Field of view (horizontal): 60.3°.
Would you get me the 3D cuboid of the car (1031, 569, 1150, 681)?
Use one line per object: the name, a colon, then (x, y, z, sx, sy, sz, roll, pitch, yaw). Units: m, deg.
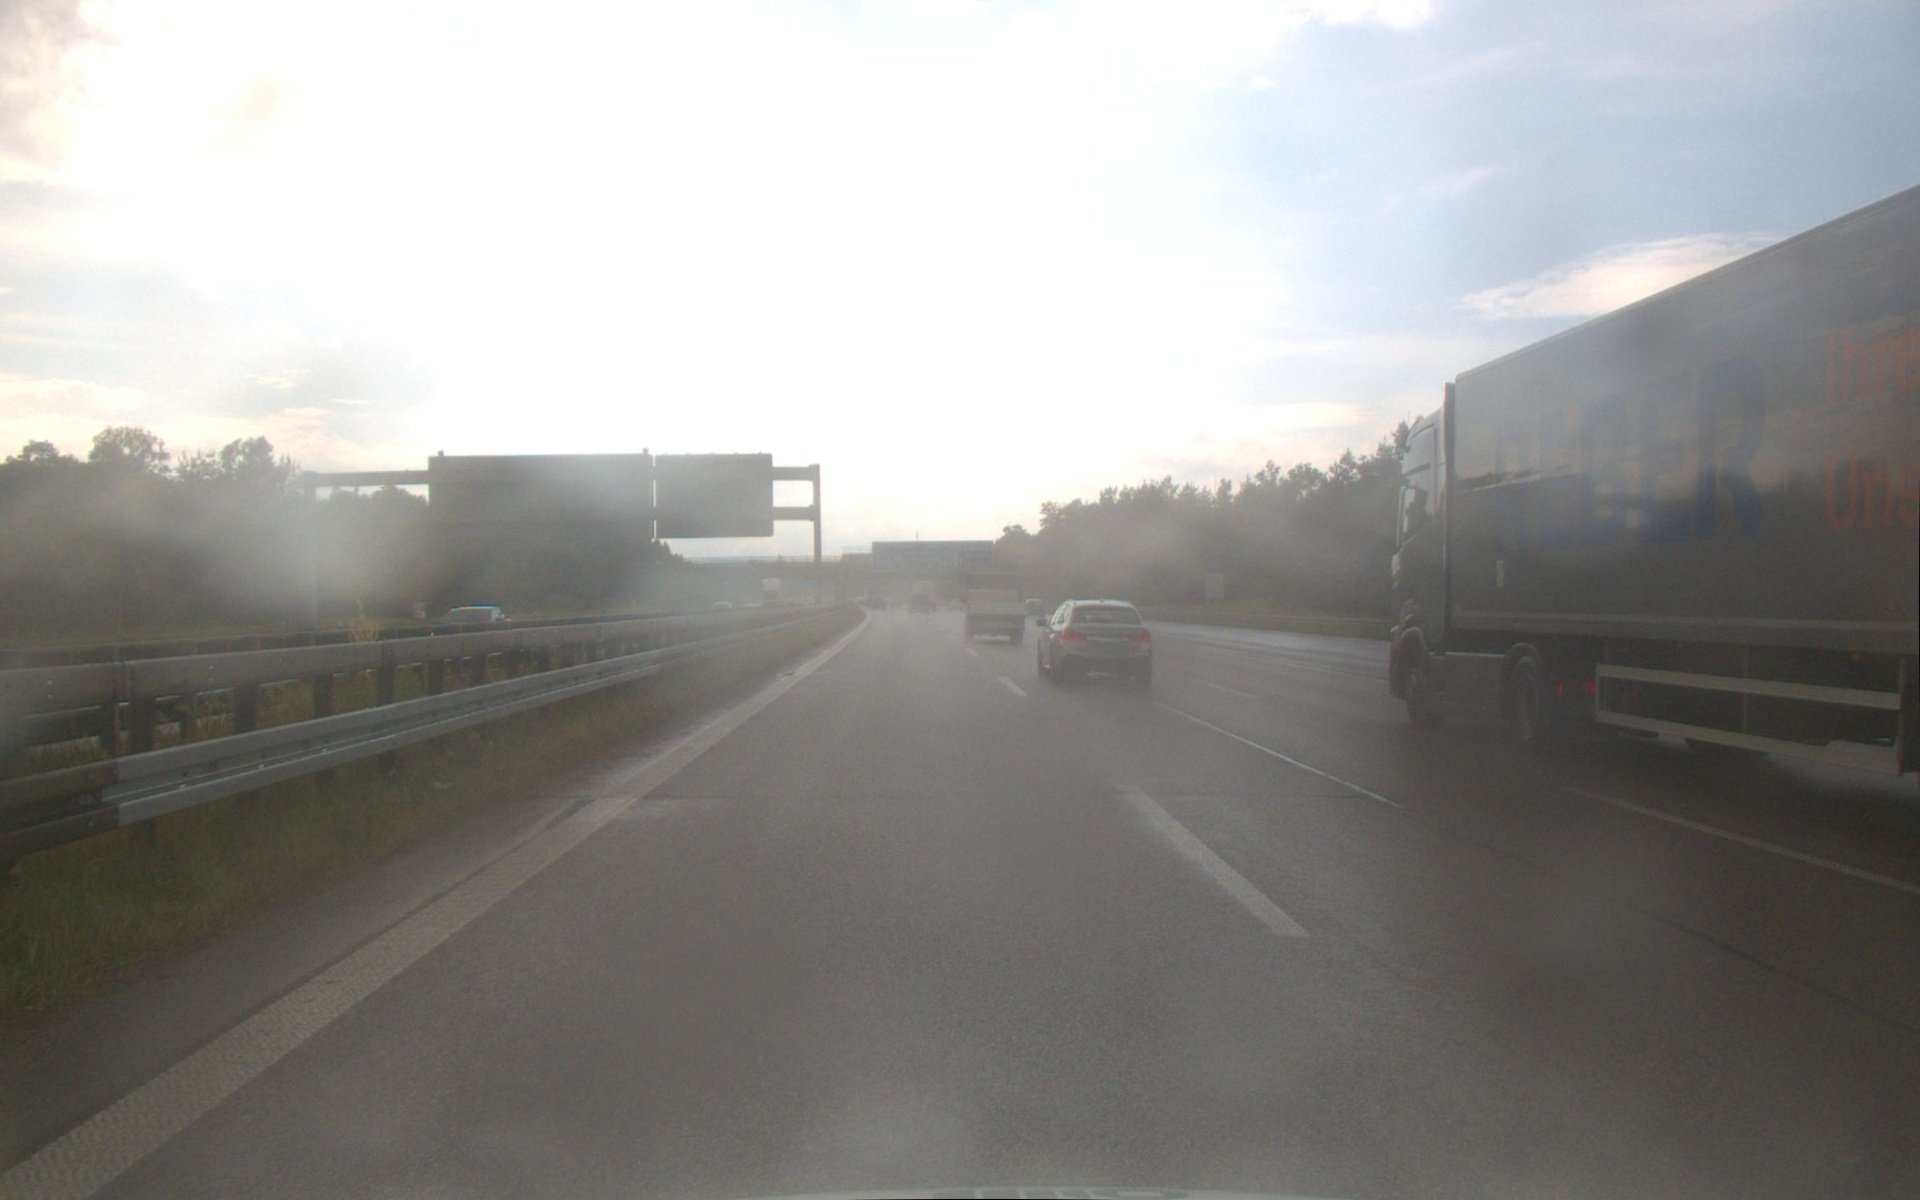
car: (2.390, 0.410, 31.245, 2.034, 1.918, 5.013, 1, 1, 3)

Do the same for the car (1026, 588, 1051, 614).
car: (6.522, 0.068, 137.163, 1.952, 2.049, 4.001, 1, 0, 2)

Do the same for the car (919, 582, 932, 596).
car: (-5.213, -1.640, 250.412, 1.953, 2.049, 3.999, 1, 0, -1)

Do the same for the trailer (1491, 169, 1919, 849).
trailer: (6.863, -0.546, 10.677, 2.277, 4.071, 13.408, 0, 0, -1)

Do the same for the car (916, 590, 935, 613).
car: (-3.173, 0.151, 152.453, 1.640, 2.049, 3.999, 1, 0, -1)

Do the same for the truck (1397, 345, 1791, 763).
truck: (6.703, -0.445, 18.315, 2.247, 3.935, 5.391, 0, 0, -1)

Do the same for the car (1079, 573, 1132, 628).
car: (5.603, 0.013, 64.043, 1.868, 2.049, 4.001, 1, 0, 2)

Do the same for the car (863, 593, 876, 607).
car: (-14.225, -0.005, 259.562, 1.758, 2.049, 4.000, 1, 0, 1)

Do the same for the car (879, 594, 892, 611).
car: (-9.518, 0.273, 211.524, 1.584, 2.049, 3.999, 1, 0, -1)

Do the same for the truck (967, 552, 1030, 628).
truck: (1.355, -0.365, 57.882, 2.093, 2.532, 5.314, 0, 0, 2)
